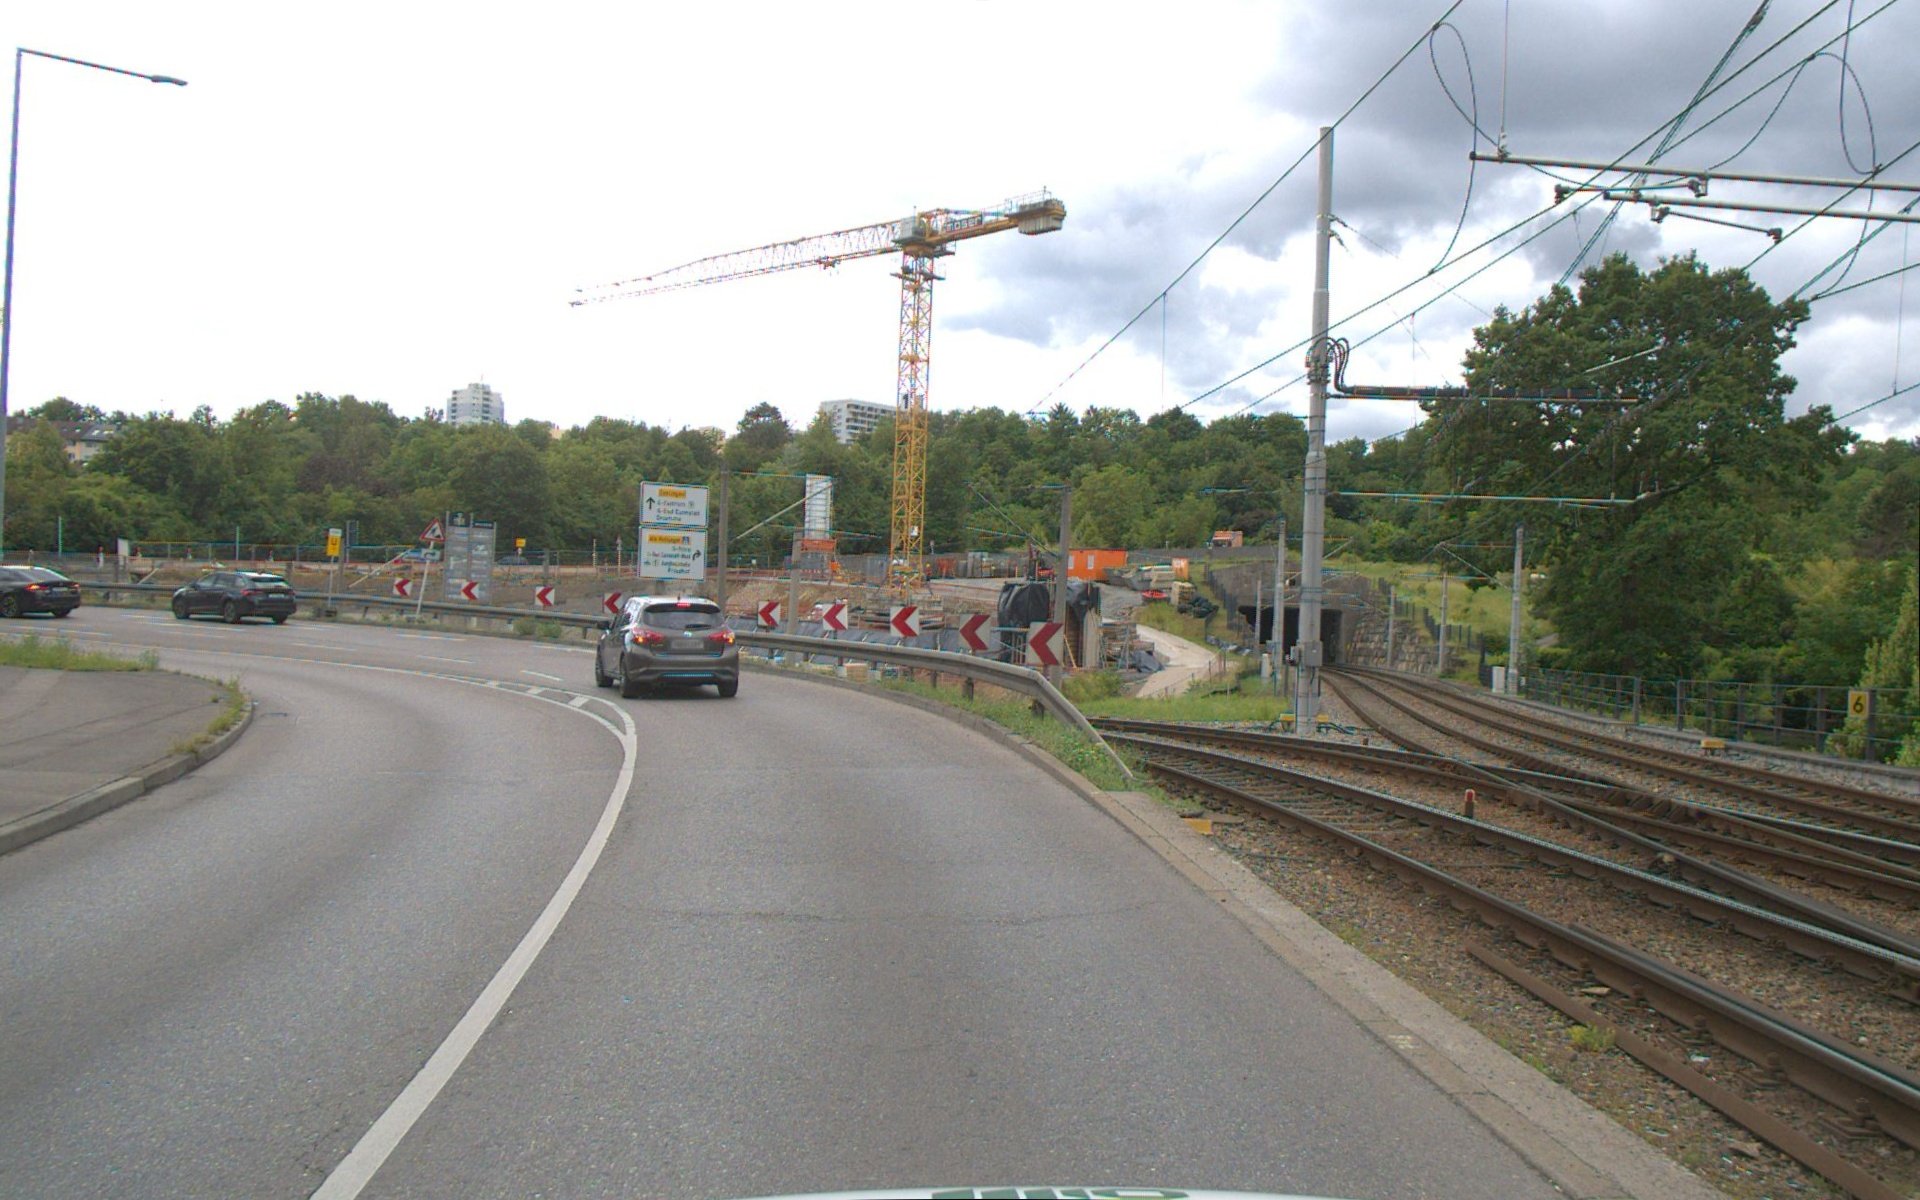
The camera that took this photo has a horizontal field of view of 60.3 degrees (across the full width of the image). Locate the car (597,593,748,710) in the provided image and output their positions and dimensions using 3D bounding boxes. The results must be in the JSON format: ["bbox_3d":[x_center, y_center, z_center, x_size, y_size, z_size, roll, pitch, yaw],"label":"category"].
[{"bbox_3d":[-4.649,0.759,26.340,1.770,1.579,3.979,1,2,-19],"label":"car"}]

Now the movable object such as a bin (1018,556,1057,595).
[{"bbox_3d":[6.439,-2.014,137.254,1.826,3.131,2.756,1,-1,-43],"label":"movable object such as a bin"}]

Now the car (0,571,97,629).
[{"bbox_3d":[-28.305,-0.044,49.334,4.847,1.502,1.879,2,2,22],"label":"car"}]

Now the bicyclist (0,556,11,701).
[{"bbox_3d":[-12.427,0.345,20.714,0.616,1.840,0.897,4,-2,-16],"label":"bicyclist"}]

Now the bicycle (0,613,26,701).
[{"bbox_3d":[-12.511,0.714,20.869,0.723,1.090,1.874,4,-1,-15],"label":"bicycle"}]

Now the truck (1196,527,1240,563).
[{"bbox_3d":[33.828,-7.154,216.547,3.049,4.294,9.786,2,1,25],"label":"truck"}]

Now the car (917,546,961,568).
[{"bbox_3d":[-1.996,-4.125,159.204,3.963,2.049,1.971,1,-1,-40],"label":"car"}]

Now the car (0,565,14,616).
[{"bbox_3d":[-33.877,-0.350,55.166,3.902,1.704,1.718,1,0,14],"label":"car"}]

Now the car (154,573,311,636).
[{"bbox_3d":[-21.626,0.096,49.178,4.104,1.665,1.880,2,2,20],"label":"car"}]
